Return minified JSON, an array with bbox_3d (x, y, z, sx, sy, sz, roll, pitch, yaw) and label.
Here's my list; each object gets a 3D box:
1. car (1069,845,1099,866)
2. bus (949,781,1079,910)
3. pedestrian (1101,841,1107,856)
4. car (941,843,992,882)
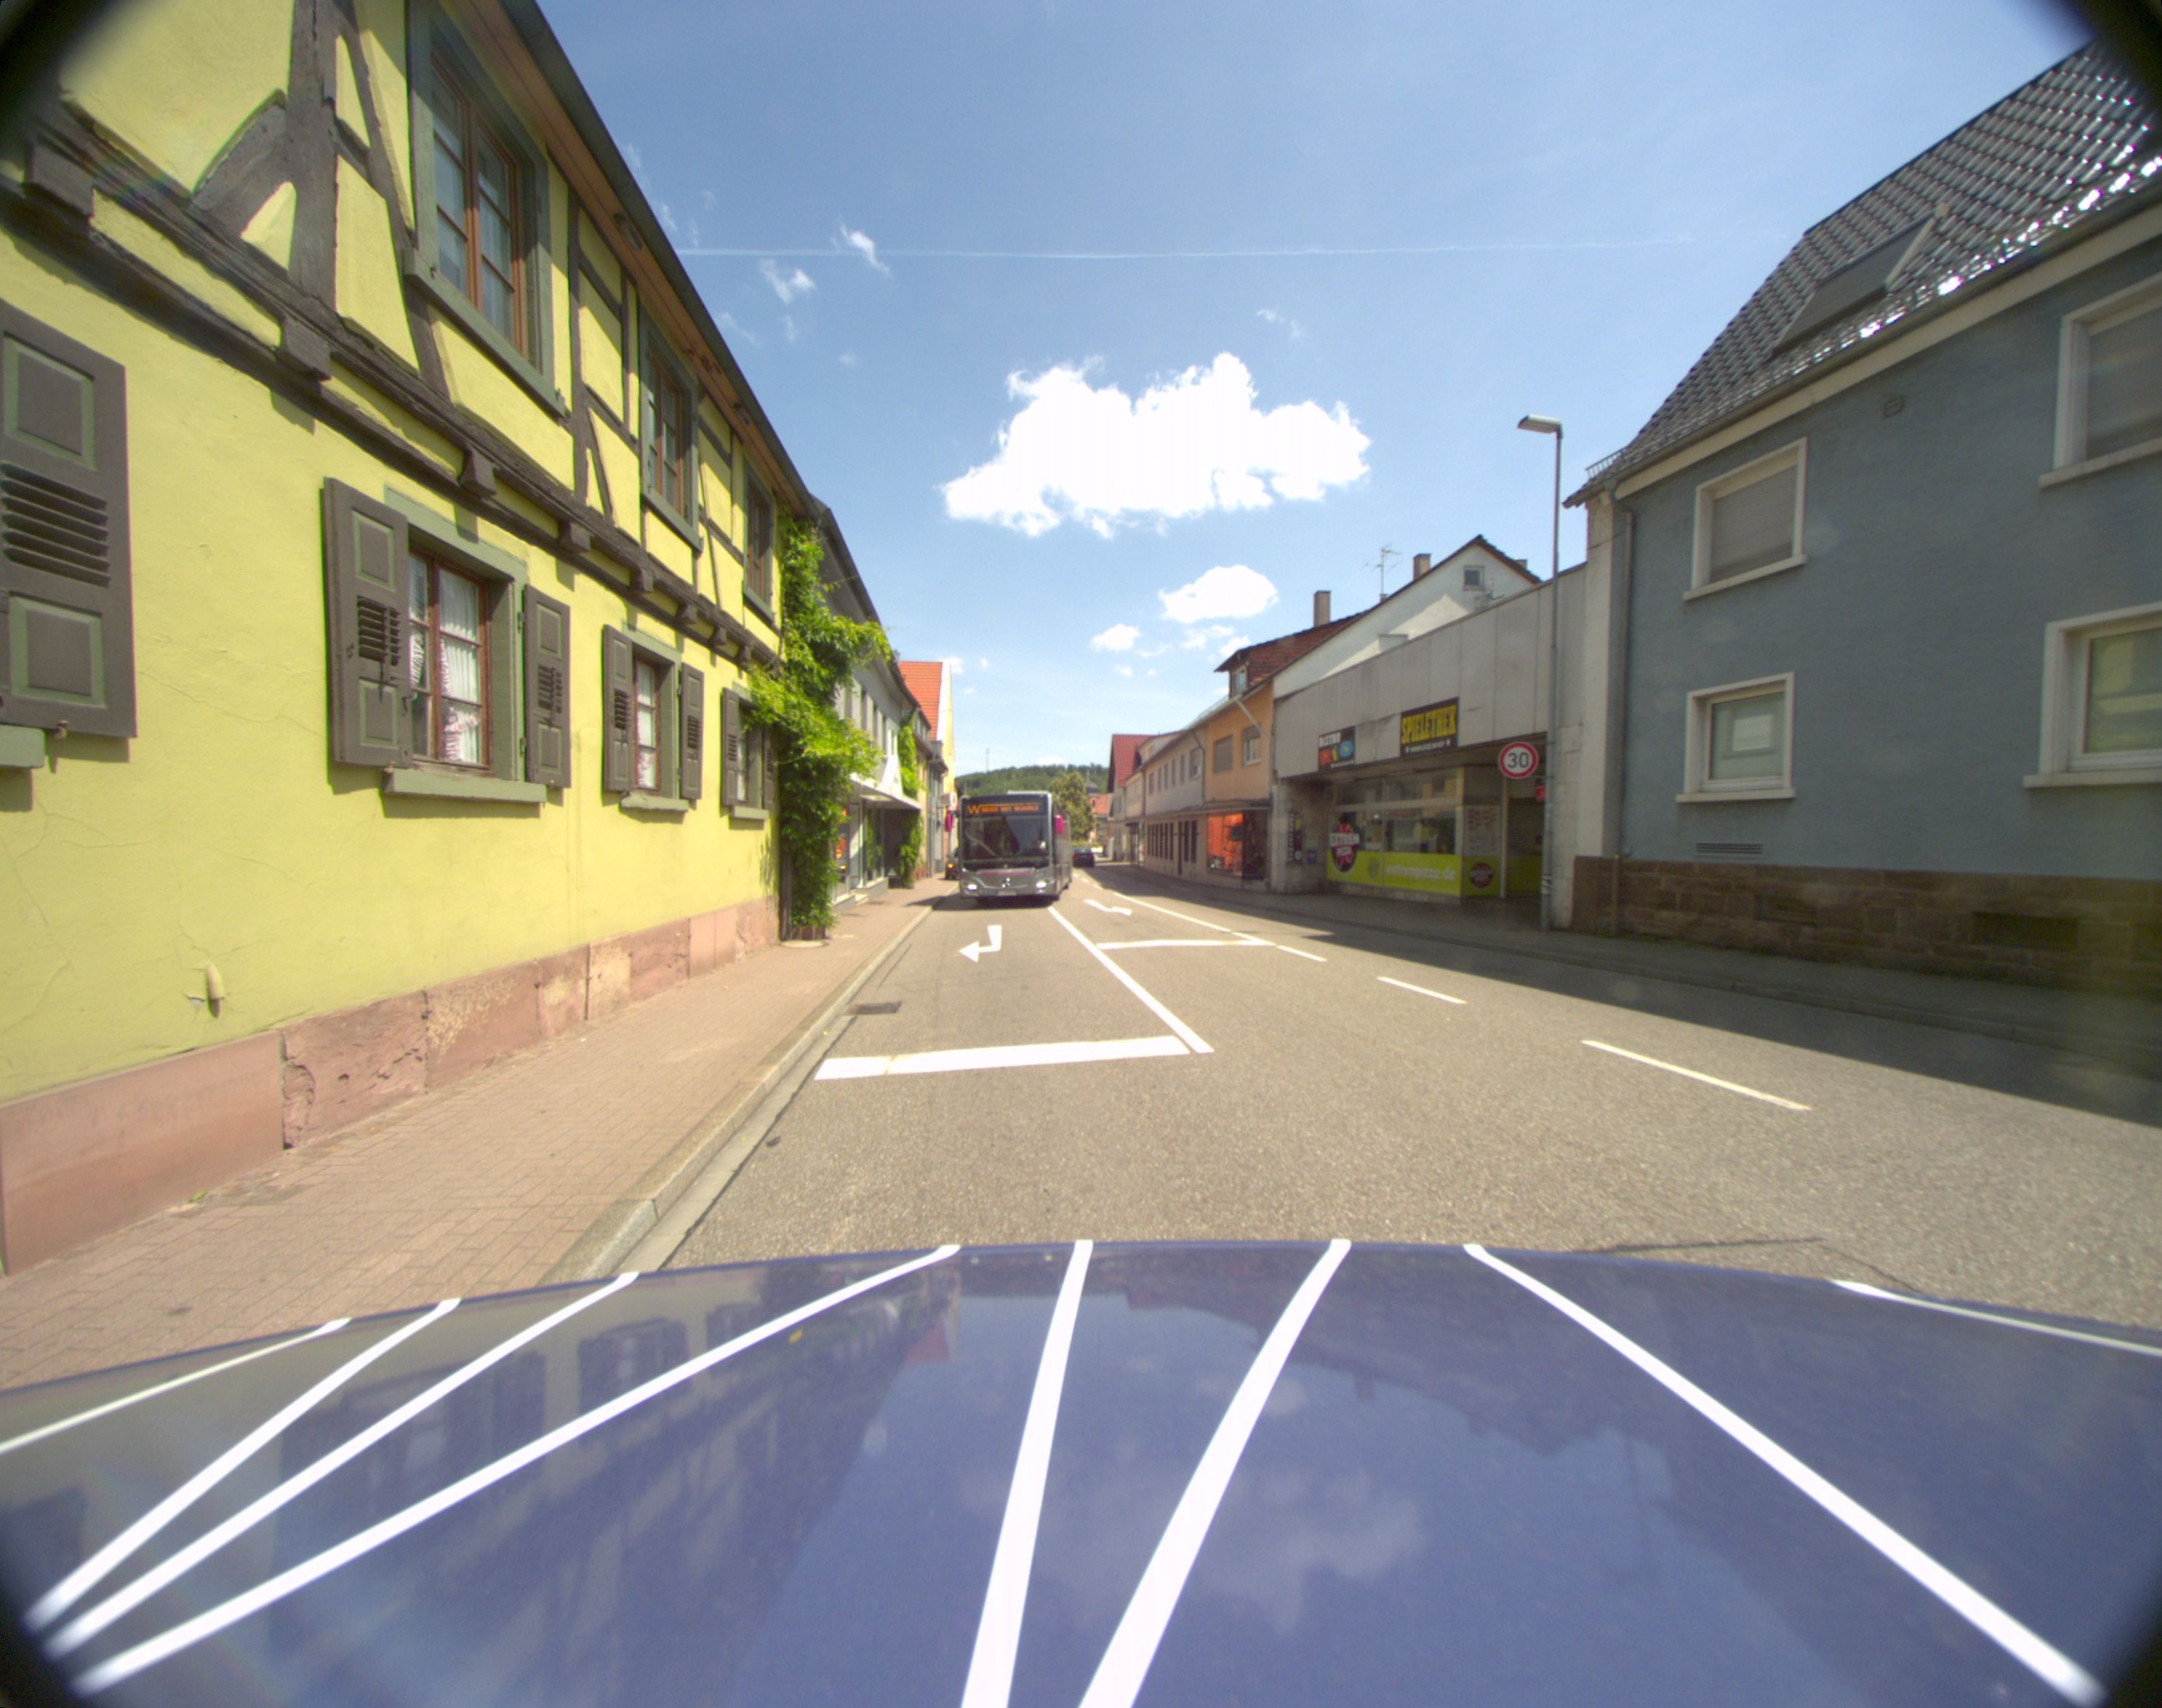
[{"bbox_3d":[0.173,0.114,59.876,1.802,1.479,4.793,2,1,-6],"label":"car"},{"bbox_3d":[-1.692,-0.287,28.509,2.859,3.186,19.031,-1,0,1],"label":"bus"},{"bbox_3d":[2.559,-0.616,85.036,0.472,1.754,0.477,-1,3,-26],"label":"pedestrian"},{"bbox_3d":[-5.581,0.365,37.392,1.999,1.699,4.099,2,1,-3],"label":"car"}]
